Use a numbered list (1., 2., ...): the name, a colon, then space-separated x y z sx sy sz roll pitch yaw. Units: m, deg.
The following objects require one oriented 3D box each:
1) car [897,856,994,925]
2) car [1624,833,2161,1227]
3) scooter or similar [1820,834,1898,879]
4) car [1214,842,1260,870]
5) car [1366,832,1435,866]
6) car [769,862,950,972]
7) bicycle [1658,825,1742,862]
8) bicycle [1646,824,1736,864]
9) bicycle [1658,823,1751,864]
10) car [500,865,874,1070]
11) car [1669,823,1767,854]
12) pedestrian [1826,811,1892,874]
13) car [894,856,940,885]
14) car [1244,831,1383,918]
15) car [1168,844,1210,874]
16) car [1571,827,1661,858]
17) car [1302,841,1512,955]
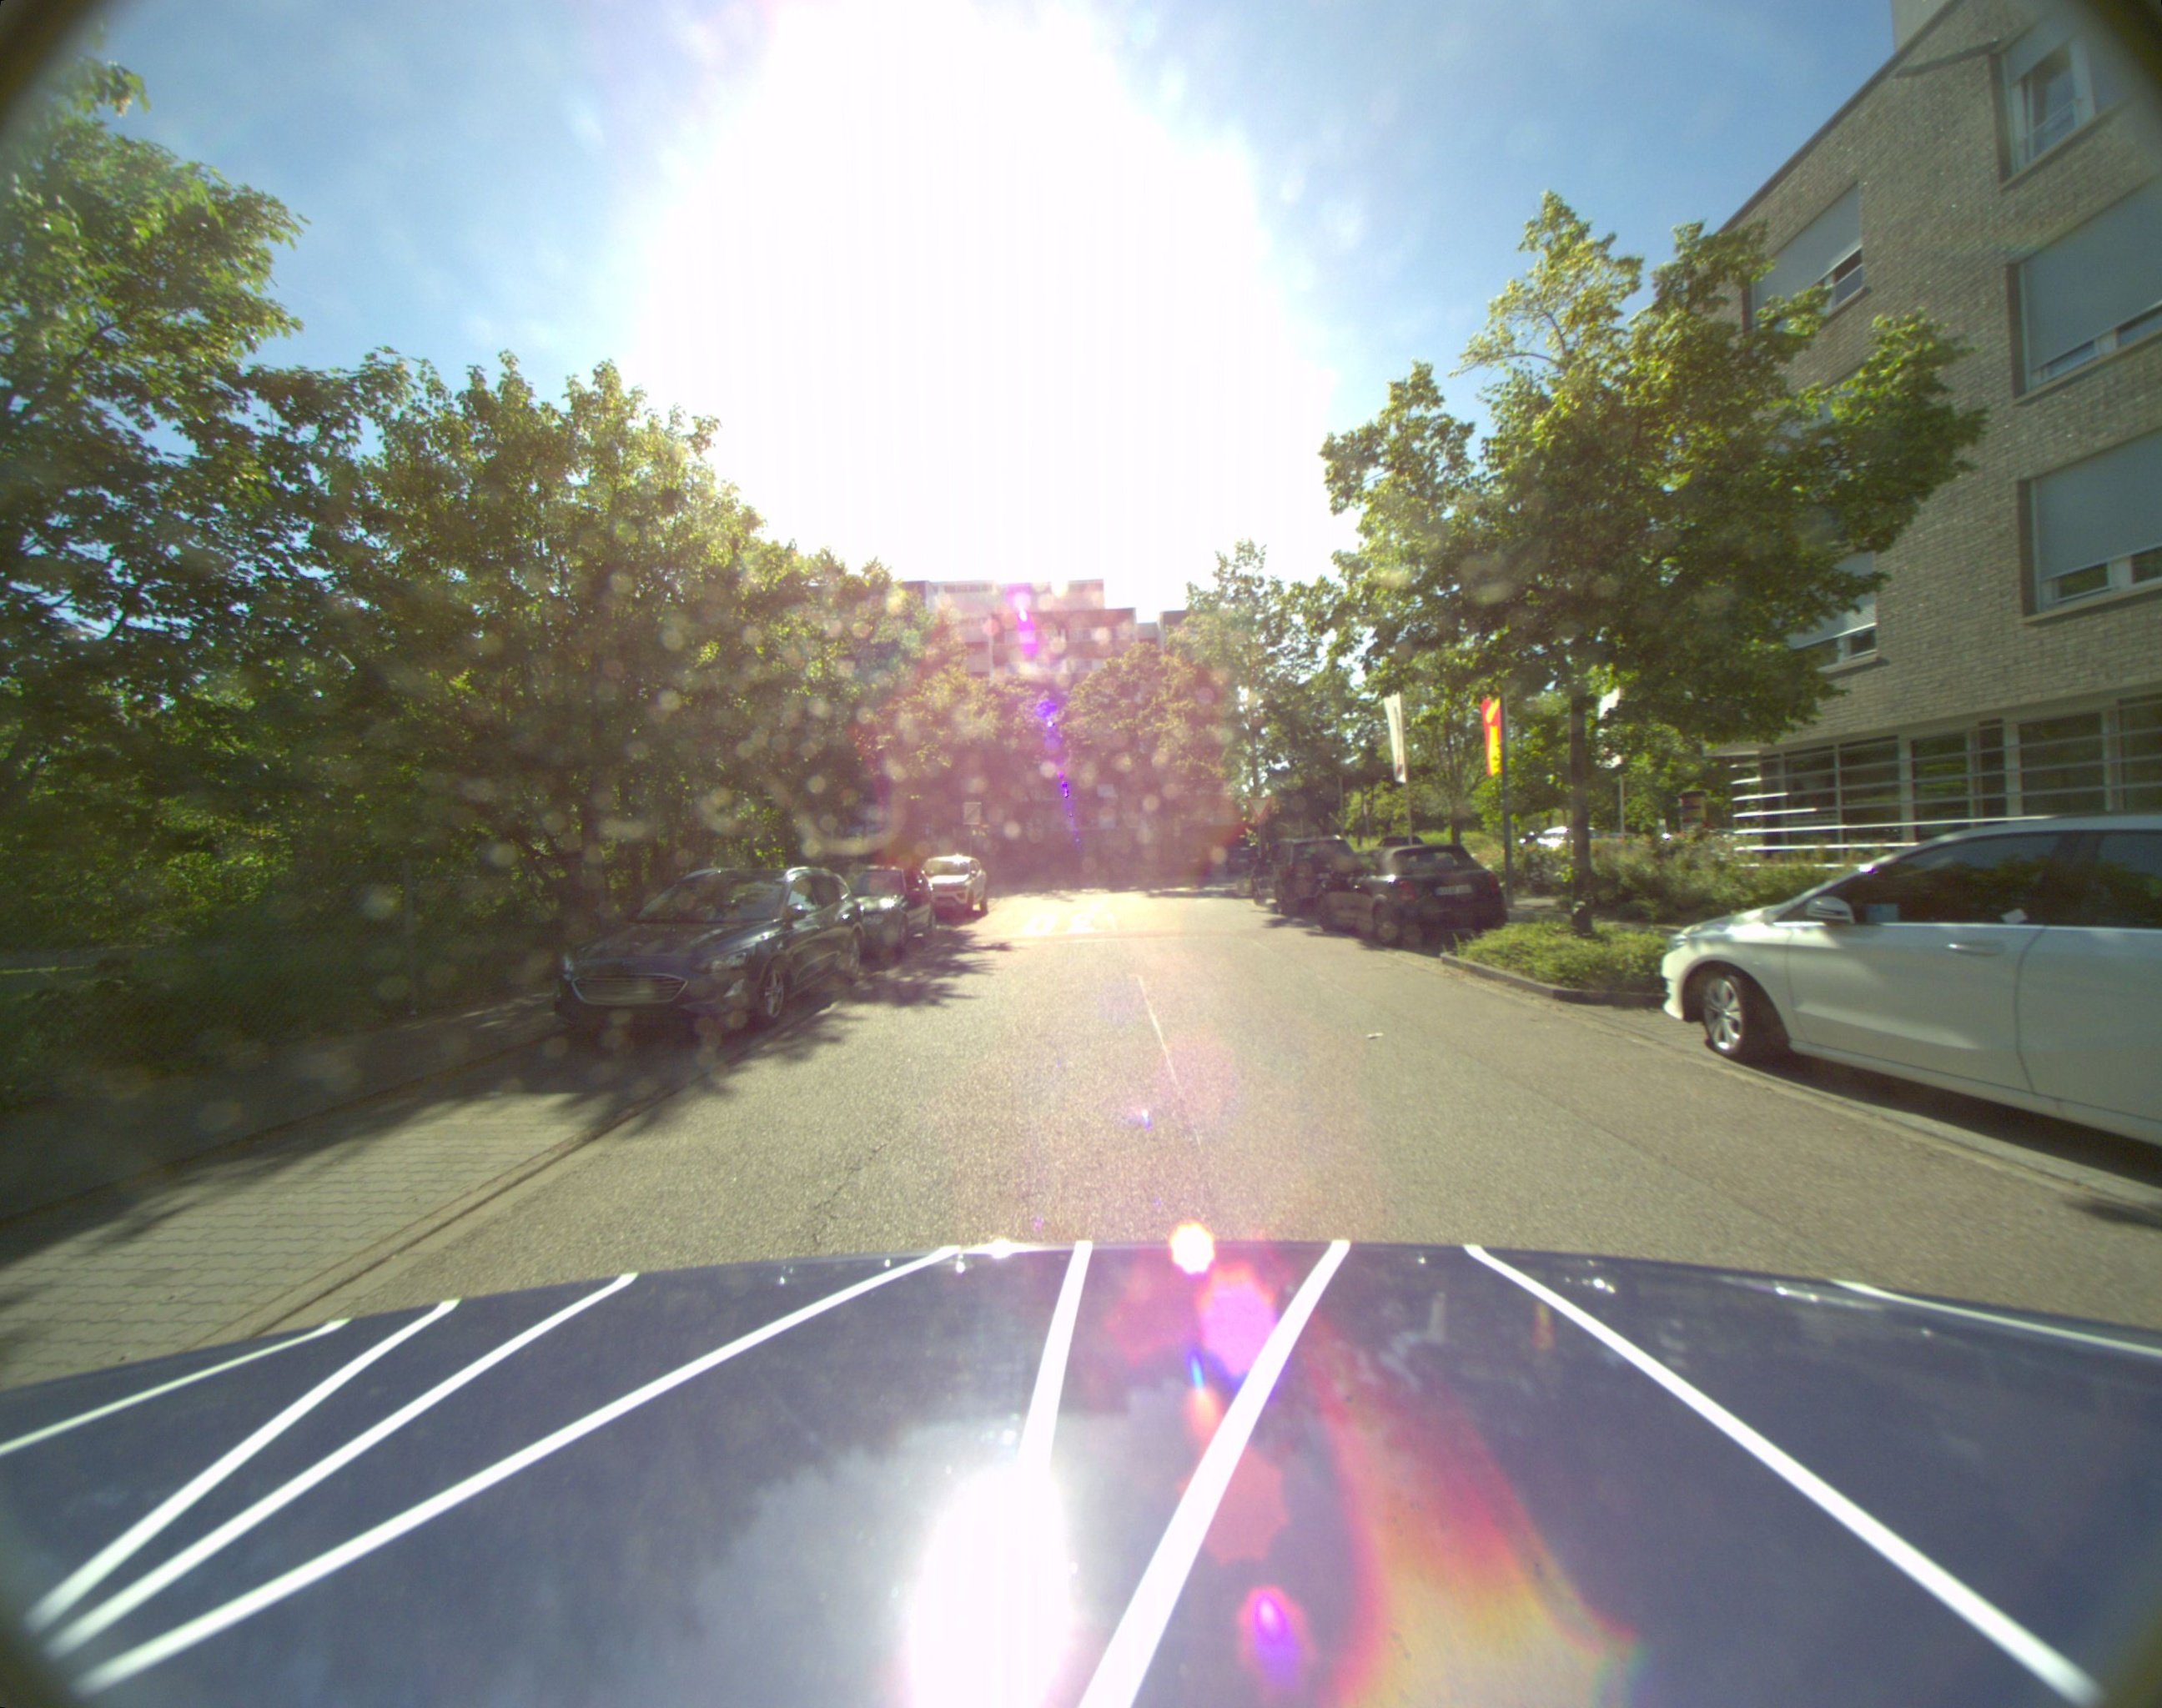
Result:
1. car: -3.459 0.876 20.139 1.623 1.442 4.090 -3 2 2
2. car: 5.040 0.681 3.614 1.664 1.523 4.286 -2 0 -3
3. scooter or similar: 17.292 0.058 16.910 0.867 0.948 0.806 -3 -1 2
4. car: 8.944 0.076 43.782 1.821 1.379 3.998 -2 3 1
5. car: 18.107 -0.310 43.278 1.998 1.769 4.601 -3 1 1
6. car: -3.624 0.953 13.244 1.829 1.463 4.068 -3 1 1
7. bicycle: 19.081 -0.310 23.434 2.191 1.041 0.438 -3 0 1
8. bicycle: 17.537 -0.270 21.858 2.191 1.041 0.438 -3 0 1
9. bicycle: 17.511 -0.287 21.362 2.191 1.041 0.438 -3 0 1
10. car: -3.689 0.923 8.181 1.680 1.429 4.438 -3 1 -1
11. car: 36.252 -0.893 43.407 1.835 1.584 4.439 -2 2 -2
12. pedestrian: 17.306 -0.252 16.914 0.744 1.353 0.670 -3 1 2
13. car: -9.449 0.938 44.058 1.716 1.443 3.999 -2 2 1
14. car: 5.215 0.378 17.688 1.891 1.610 4.338 -6 1 2
15. car: 6.169 0.234 43.772 1.700 1.490 3.819 -2 2 -2
16. car: 30.229 -0.609 43.140 1.816 1.535 4.457 -3 -1 -2
17. car: 5.007 0.592 12.258 1.582 1.495 3.789 -2 0 -2
